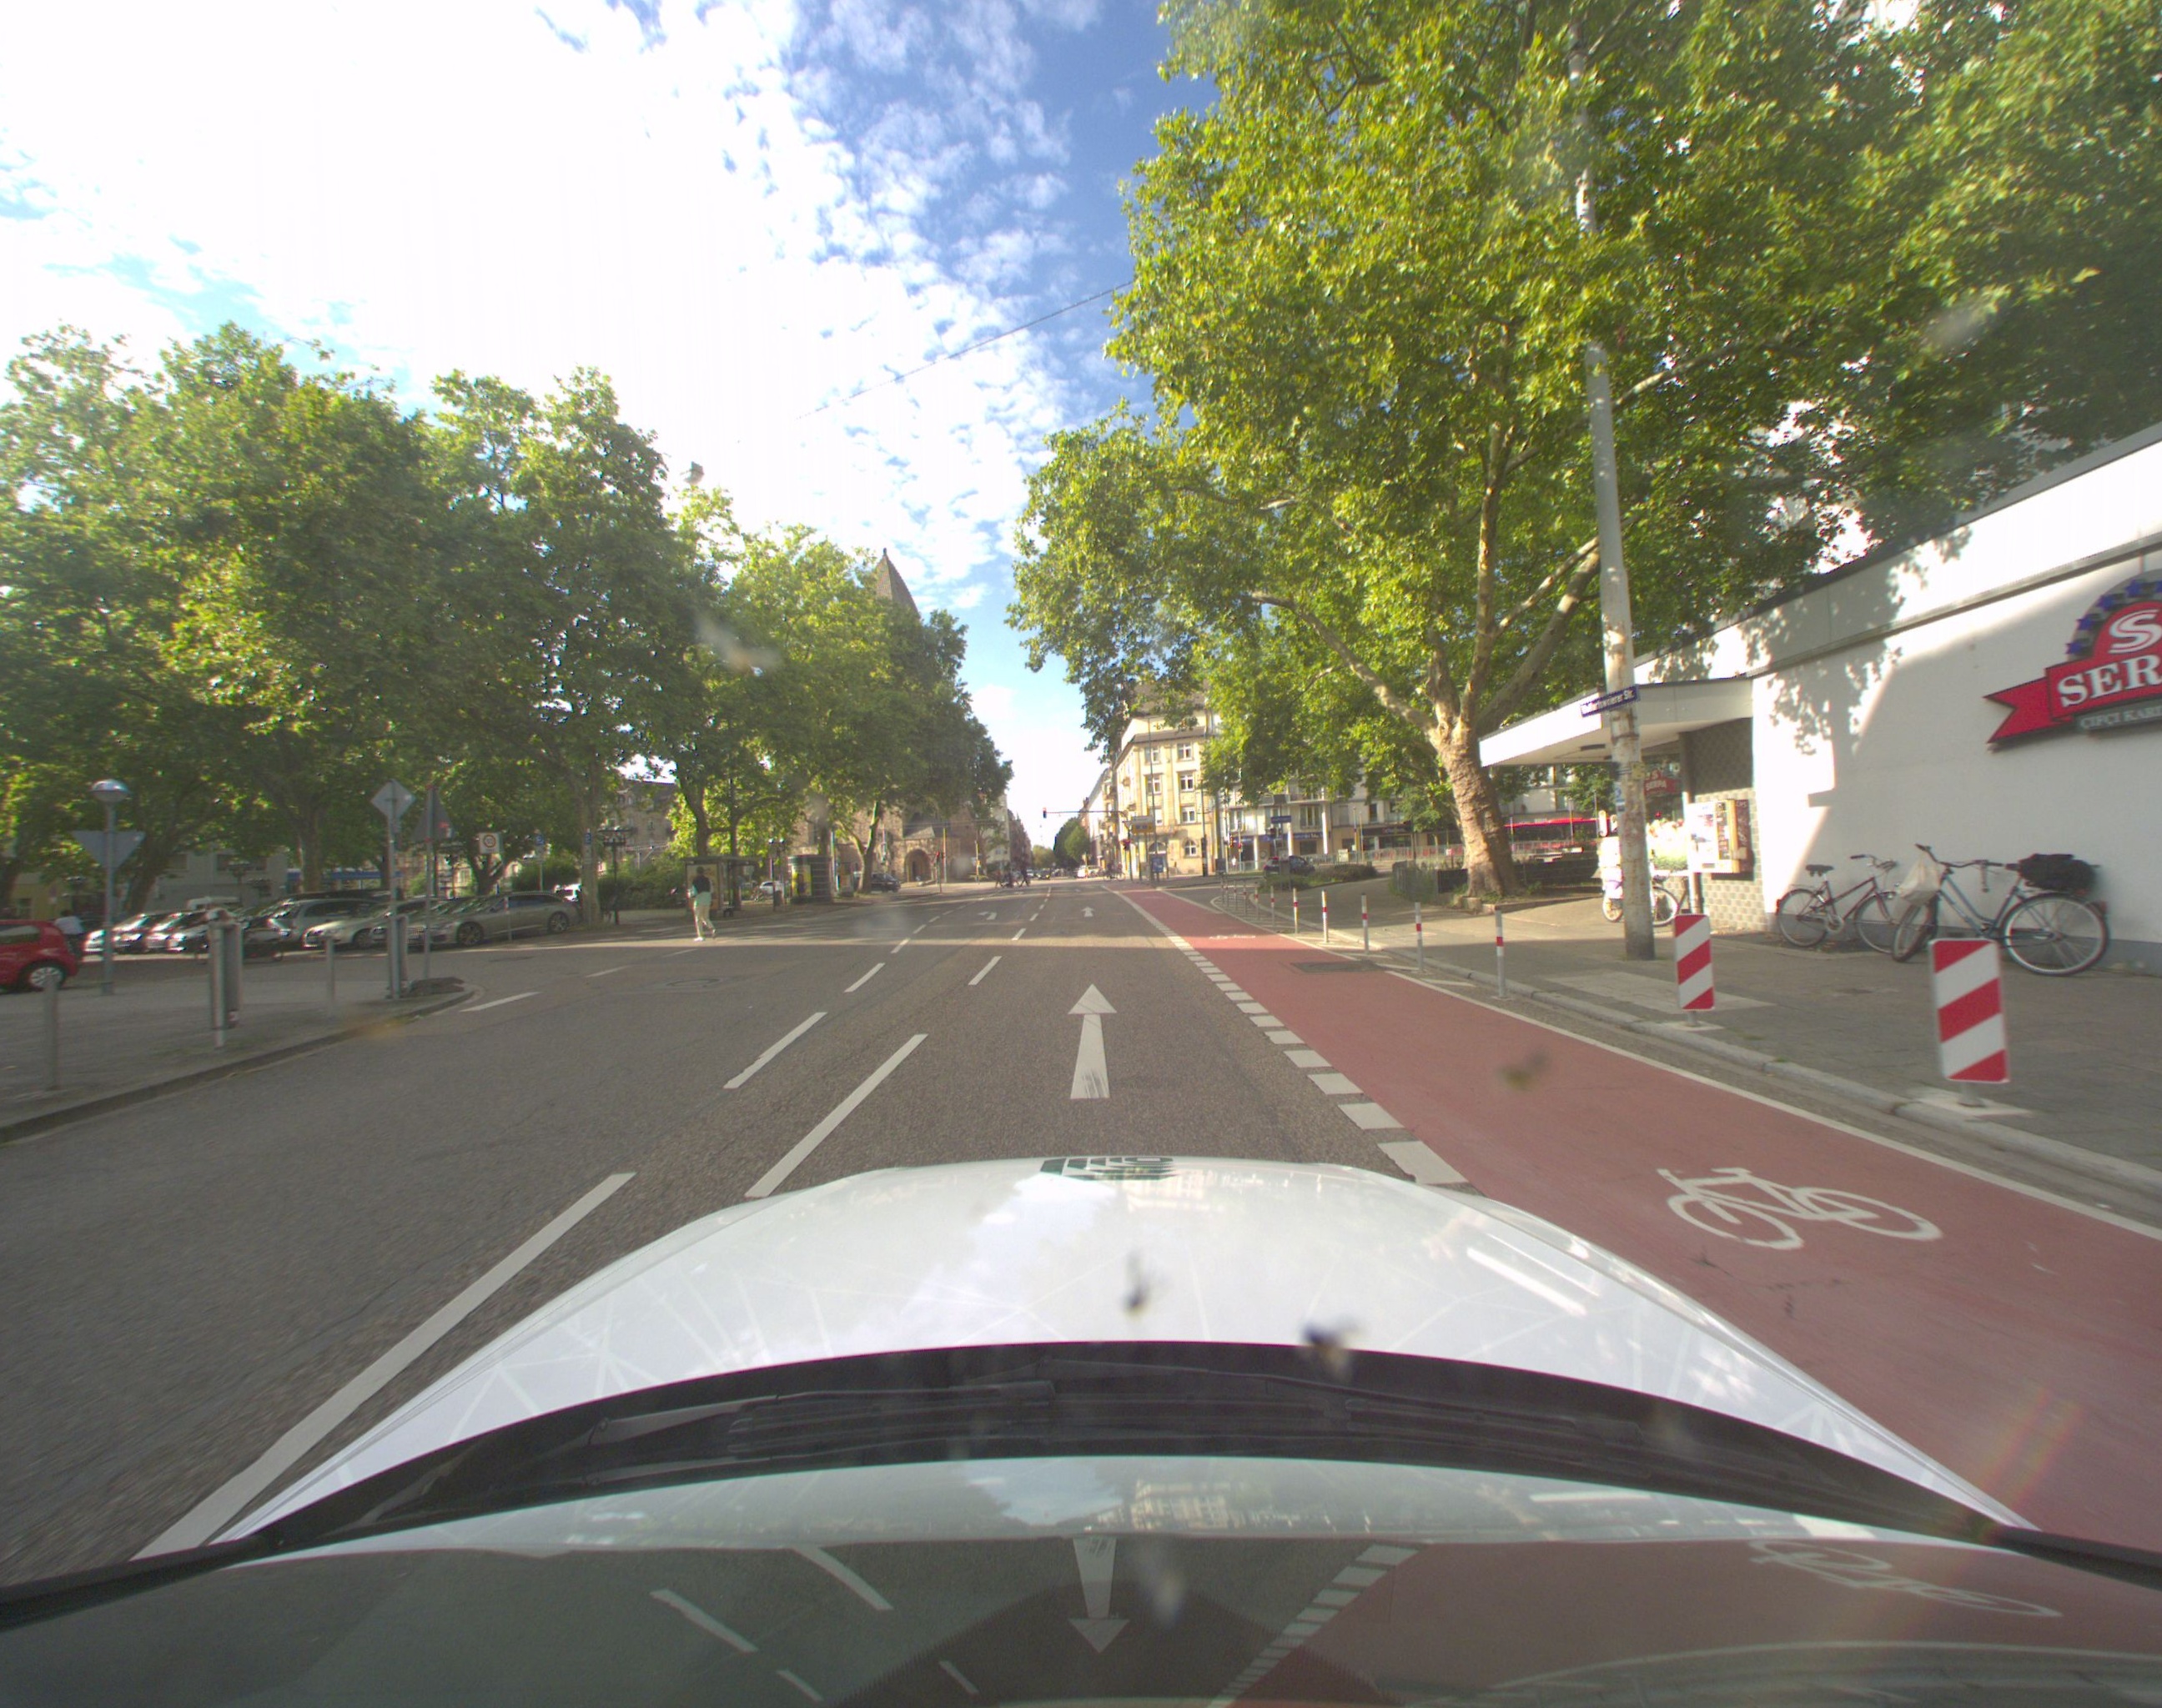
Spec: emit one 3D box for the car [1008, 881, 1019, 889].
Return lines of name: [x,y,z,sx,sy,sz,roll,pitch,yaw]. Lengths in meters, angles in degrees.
car: [-11.598,5.365,139.765,1.545,1.230,3.587,-2,-1,1]

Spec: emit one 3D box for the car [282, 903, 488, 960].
car: [-22.452,2.465,26.562,1.653,1.378,4.862,-4,-2,20]

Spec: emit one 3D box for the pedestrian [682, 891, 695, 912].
pedestrian: [-24.329,2.949,50.466,0.725,1.289,0.811,0,-2,-27]

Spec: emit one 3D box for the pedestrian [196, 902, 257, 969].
pedestrian: [-22.267,2.124,21.225,1.062,1.654,0.821,-4,-2,27]

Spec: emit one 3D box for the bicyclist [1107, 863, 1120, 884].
bicyclist: [2.546,1.536,64.387,0.771,1.579,0.629,-4,-2,23]

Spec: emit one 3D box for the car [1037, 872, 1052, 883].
car: [-5.157,3.251,114.444,1.944,1.372,3.996,-3,-1,-2]

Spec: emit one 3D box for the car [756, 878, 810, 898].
car: [-29.023,3.343,79.352,4.668,1.683,2.026,-3,-2,17]

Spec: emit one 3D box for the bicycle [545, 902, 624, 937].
bicycle: [-18.747,2.446,30.798,1.377,1.209,2.113,-4,-4,22]

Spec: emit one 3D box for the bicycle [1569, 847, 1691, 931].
bicycle: [8.889,0.562,13.288,0.709,1.206,1.817,-6,-2,3]

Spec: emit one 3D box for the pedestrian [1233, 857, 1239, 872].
pedestrian: [16.901,1.155,88.749,0.491,1.714,0.530,-1,-2,22]

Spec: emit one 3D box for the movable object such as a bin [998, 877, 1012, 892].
movable object such as a bin: [-5.872,2.380,63.002,0.830,1.124,0.578,-4,-2,21]

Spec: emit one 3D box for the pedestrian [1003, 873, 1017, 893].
pedestrian: [-5.350,2.172,61.611,0.774,1.432,0.734,-4,-2,21]

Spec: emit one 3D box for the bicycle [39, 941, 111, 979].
bicycle: [-29.073,3.050,23.531,1.903,0.994,0.767,-3,-2,22]

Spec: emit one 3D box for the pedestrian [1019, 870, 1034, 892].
pedestrian: [-4.202,2.071,63.051,0.774,1.662,0.782,-4,-2,21]

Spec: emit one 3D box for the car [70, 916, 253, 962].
car: [-36.324,3.336,32.343,1.838,1.378,4.409,-4,-2,20]

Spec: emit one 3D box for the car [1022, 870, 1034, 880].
car: [-9.818,3.963,151.084,1.944,1.750,3.996,-3,-2,-2]

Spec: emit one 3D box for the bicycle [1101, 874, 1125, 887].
bicycle: [2.518,2.106,64.389,1.813,0.955,0.576,-4,-2,24]

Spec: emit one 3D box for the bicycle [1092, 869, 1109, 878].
bicycle: [2.467,2.512,104.491,2.024,1.082,0.617,-3,-1,-12]

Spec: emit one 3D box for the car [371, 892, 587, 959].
car: [-18.069,2.094,24.819,2.218,1.585,4.991,-3,-1,13]

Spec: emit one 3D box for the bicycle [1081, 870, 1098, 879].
bicycle: [1.048,2.616,104.433,2.024,1.082,0.617,-3,-1,-12]

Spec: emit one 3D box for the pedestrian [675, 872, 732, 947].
pedestrian: [-9.234,1.328,19.951,1.076,1.754,0.914,-1,-2,-15]

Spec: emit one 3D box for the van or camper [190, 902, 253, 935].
van or camper: [-67.912,5.072,64.332,4.436,2.328,2.124,-4,-2,25]

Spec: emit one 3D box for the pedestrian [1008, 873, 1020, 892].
pedestrian: [-5.104,2.153,62.202,0.649,1.432,0.501,-4,-2,21]

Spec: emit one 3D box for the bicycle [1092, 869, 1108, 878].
bicycle: [2.460,2.544,105.183,2.024,1.082,0.628,-3,-1,-12]

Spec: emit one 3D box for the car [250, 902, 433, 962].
car: [-25.007,2.592,27.753,1.664,1.617,4.298,-4,-2,20]

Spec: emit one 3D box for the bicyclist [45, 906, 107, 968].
bicyclist: [-28.998,2.390,23.498,1.100,1.692,0.819,-3,-1,22]

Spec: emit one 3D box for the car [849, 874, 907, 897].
car: [-18.884,2.911,75.732,4.805,1.871,2.040,-3,-2,17]

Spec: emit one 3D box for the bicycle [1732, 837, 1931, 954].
bicycle: [8.640,0.460,9.498,0.707,1.206,1.773,-3,-2,5]

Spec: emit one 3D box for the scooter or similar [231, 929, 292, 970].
scooter or similar: [-20.542,2.390,20.415,1.001,0.923,0.813,-4,-2,29]

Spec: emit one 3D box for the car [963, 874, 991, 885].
car: [-16.619,4.071,130.289,4.021,1.596,1.847,-2,-2,-41]

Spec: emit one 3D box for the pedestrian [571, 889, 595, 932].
pedestrian: [-20.695,2.338,33.833,0.499,1.716,0.706,-3,-2,-1]

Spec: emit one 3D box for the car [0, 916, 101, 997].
car: [-21.852,2.062,15.524,1.577,1.477,3.726,-3,-2,23]

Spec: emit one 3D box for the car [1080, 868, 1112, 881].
car: [1.914,2.686,106.842,3.981,1.420,1.996,-3,-2,-6]

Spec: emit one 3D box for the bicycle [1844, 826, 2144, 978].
bicycle: [8.439,0.420,7.680,0.765,1.206,1.818,-5,-2,5]

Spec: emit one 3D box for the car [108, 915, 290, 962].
car: [-34.054,3.234,31.628,1.838,1.378,4.409,-4,-2,20]

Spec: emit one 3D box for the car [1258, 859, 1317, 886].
car: [12.145,1.078,47.796,1.735,1.414,4.025,-3,-2,40]
